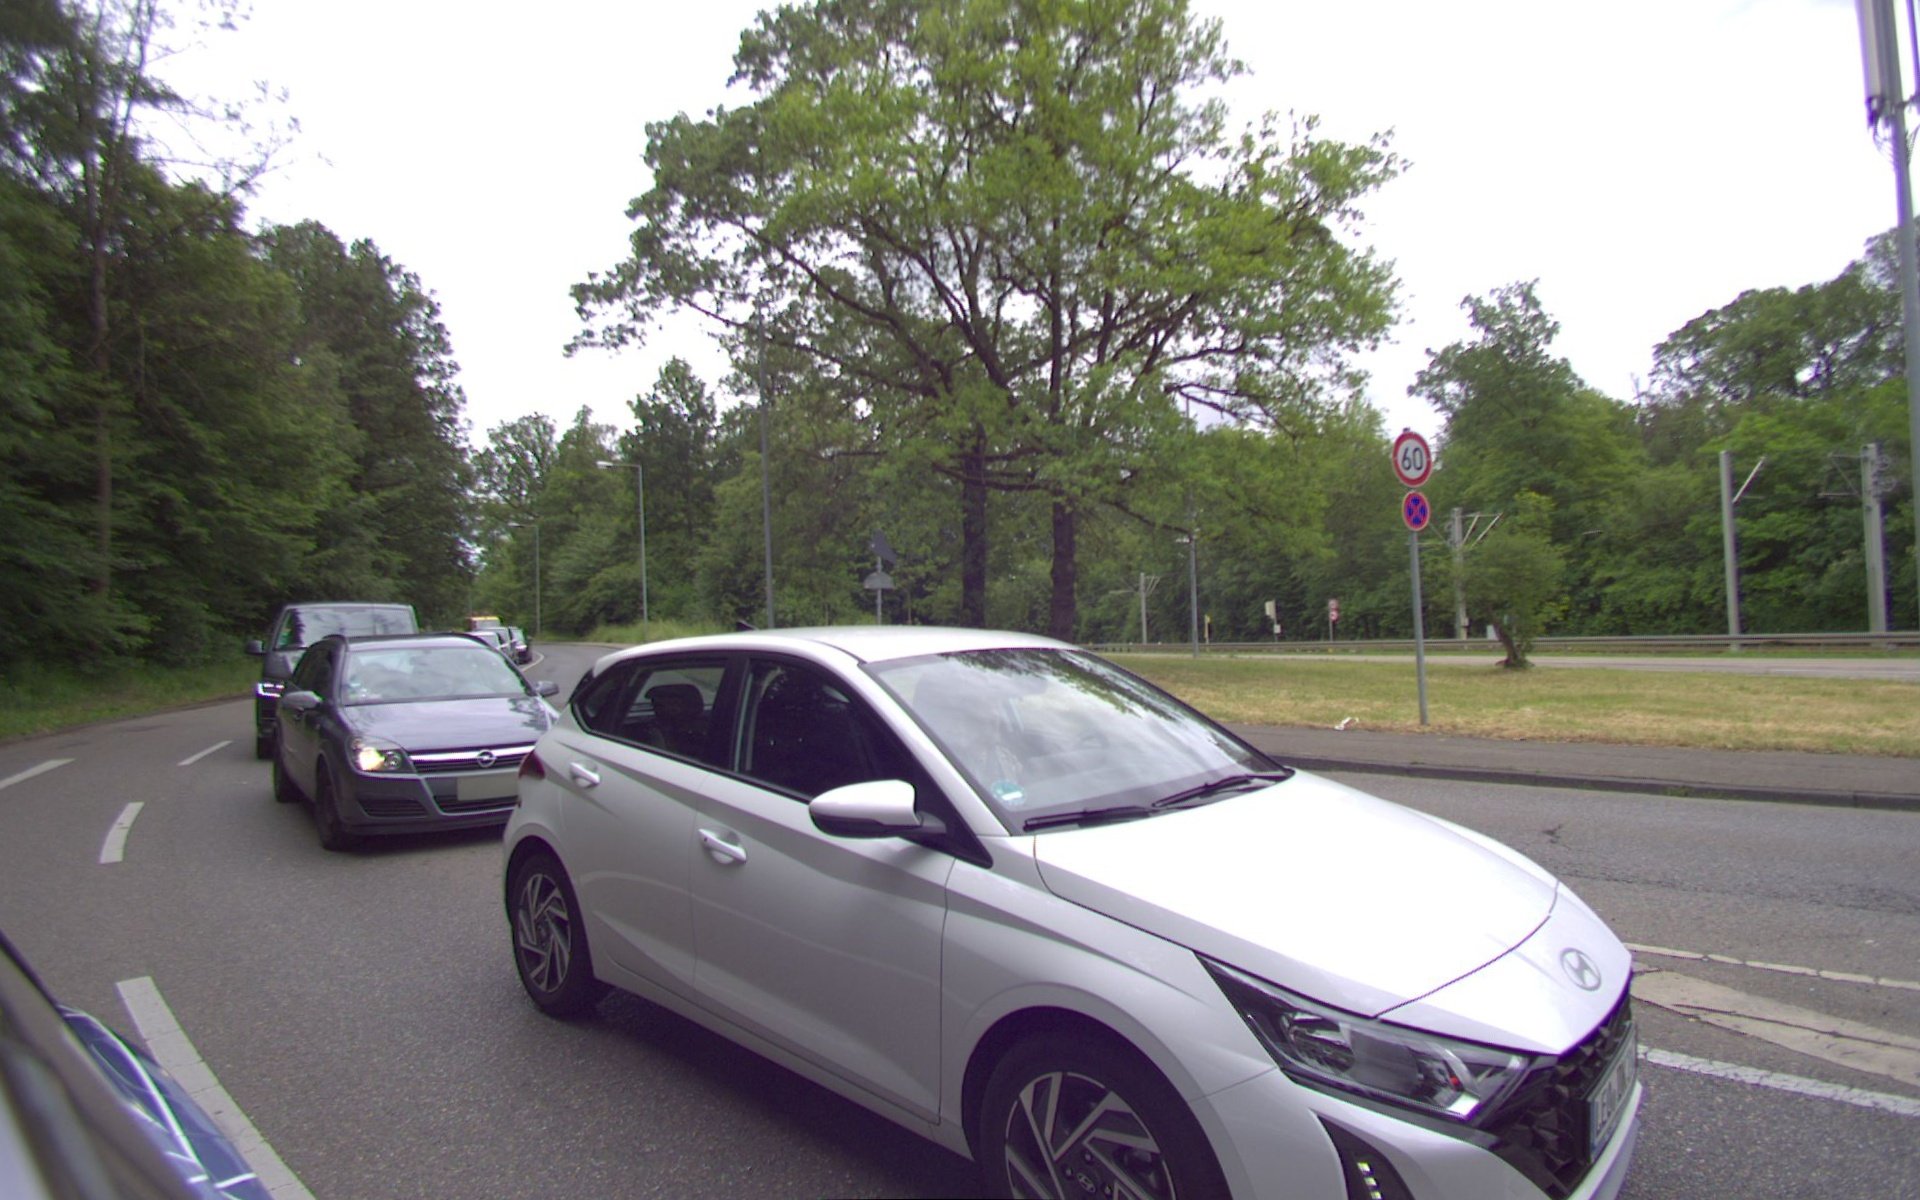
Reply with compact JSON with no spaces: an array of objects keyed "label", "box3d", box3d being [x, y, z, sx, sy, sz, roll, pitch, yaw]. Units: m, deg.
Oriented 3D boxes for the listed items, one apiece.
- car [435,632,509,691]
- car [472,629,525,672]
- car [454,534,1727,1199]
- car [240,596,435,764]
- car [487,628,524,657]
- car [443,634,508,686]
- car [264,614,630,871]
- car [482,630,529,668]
[{"label":"car","box3d":[-13.747,1.695,28.606,1.748,1.511,3.885,0,-2,-25]},{"label":"car","box3d":[-17.423,1.871,38.204,1.748,1.511,3.885,0,-2,-25]},{"label":"car","box3d":[-0.074,0.728,3.422,4.073,1.490,1.631,-3,-2,43]},{"label":"car","box3d":[-8.417,0.986,13.951,1.957,1.887,4.545,0,-2,-29]},{"label":"car","box3d":[-25.366,2.375,56.557,1.749,1.511,3.885,-1,-2,-22]},{"label":"car","box3d":[-15.397,1.860,32.227,1.748,1.511,3.885,0,-2,-25]},{"label":"car","box3d":[-4.400,0.921,8.251,1.775,1.490,4.478,0,-2,-39]},{"label":"car","box3d":[-19.392,2.069,43.133,1.748,1.511,3.885,0,-2,-25]}]
